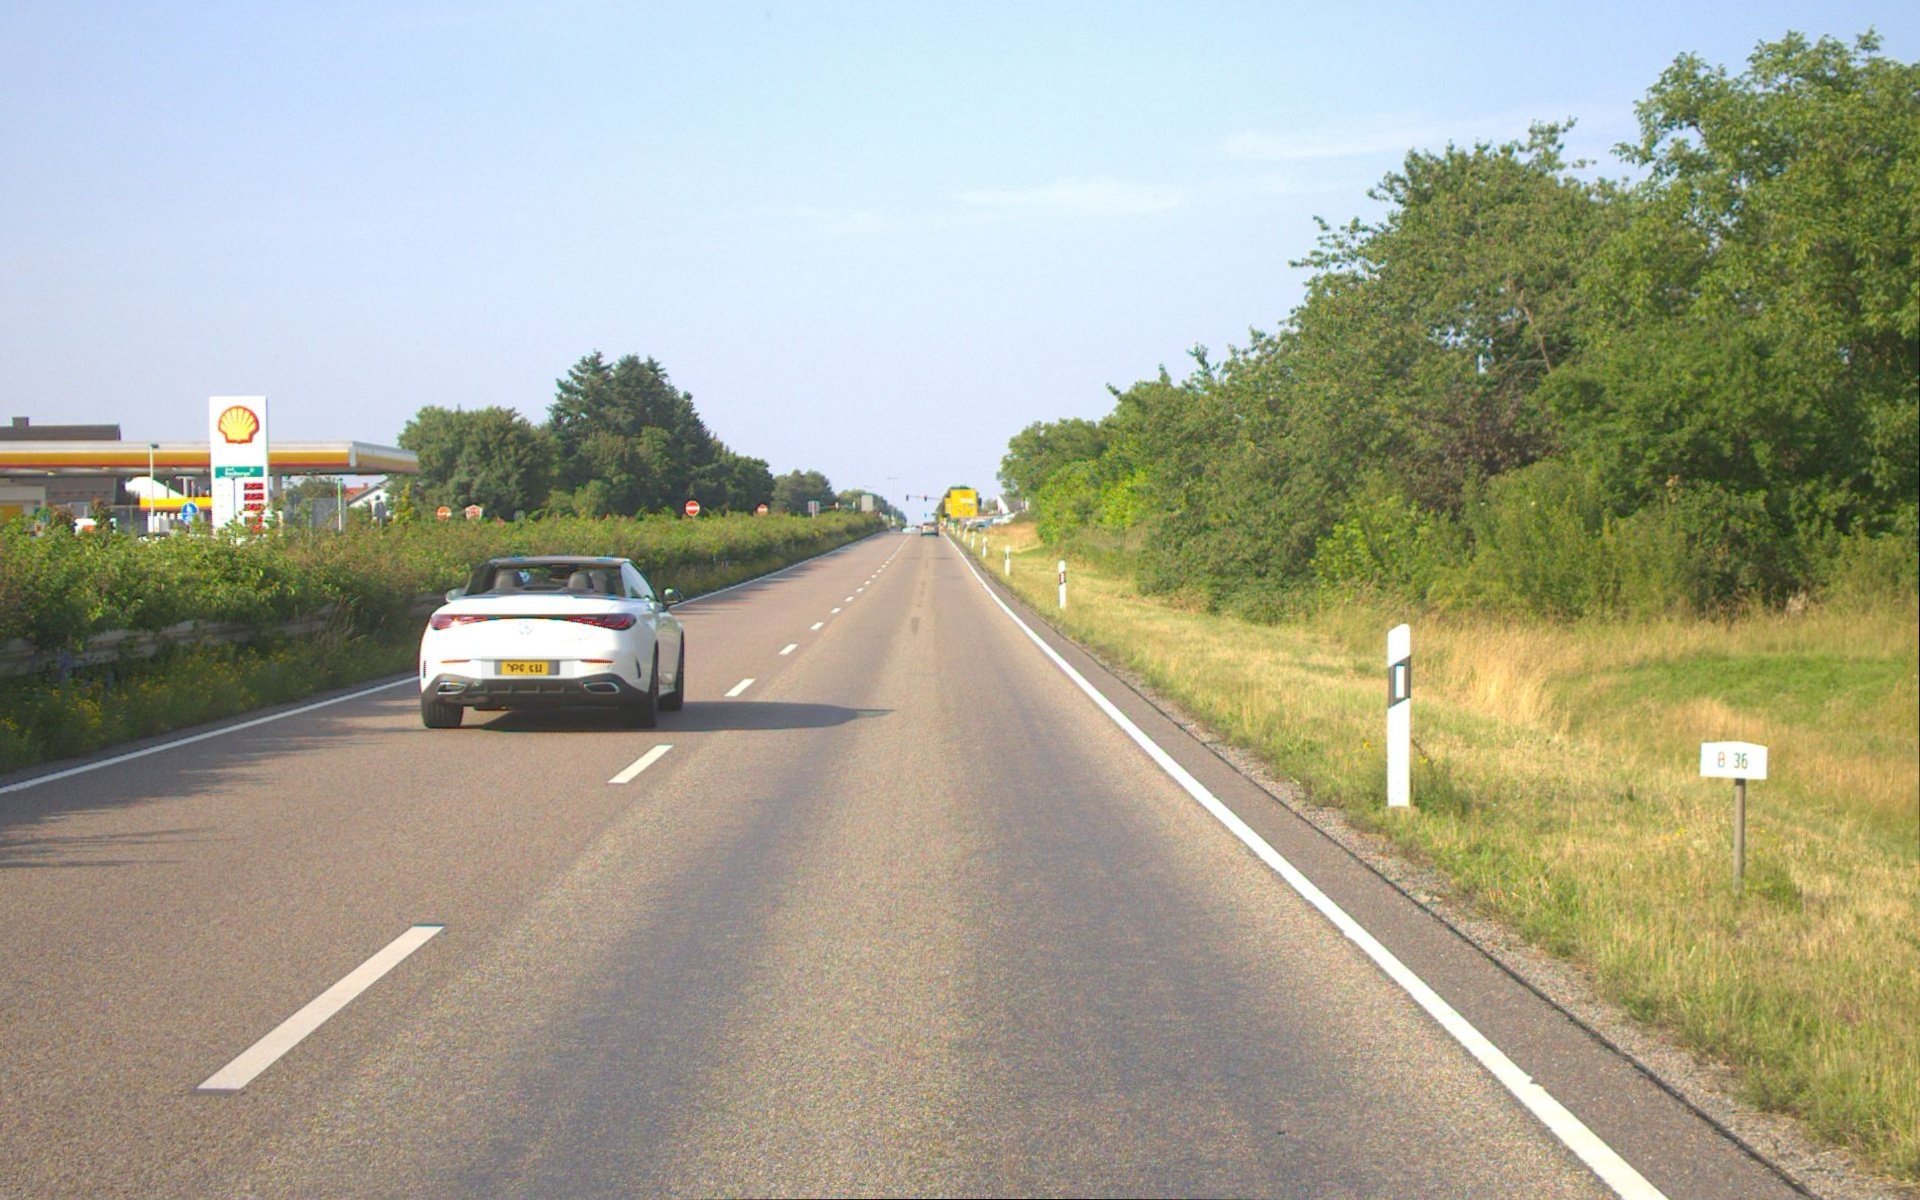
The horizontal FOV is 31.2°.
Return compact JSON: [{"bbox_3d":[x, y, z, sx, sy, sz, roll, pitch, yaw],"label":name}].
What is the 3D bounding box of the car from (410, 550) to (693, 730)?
[{"bbox_3d":[-3.321,0.267,28.791,1.771,1.333,4.950,1,1,0],"label":"car"}]
